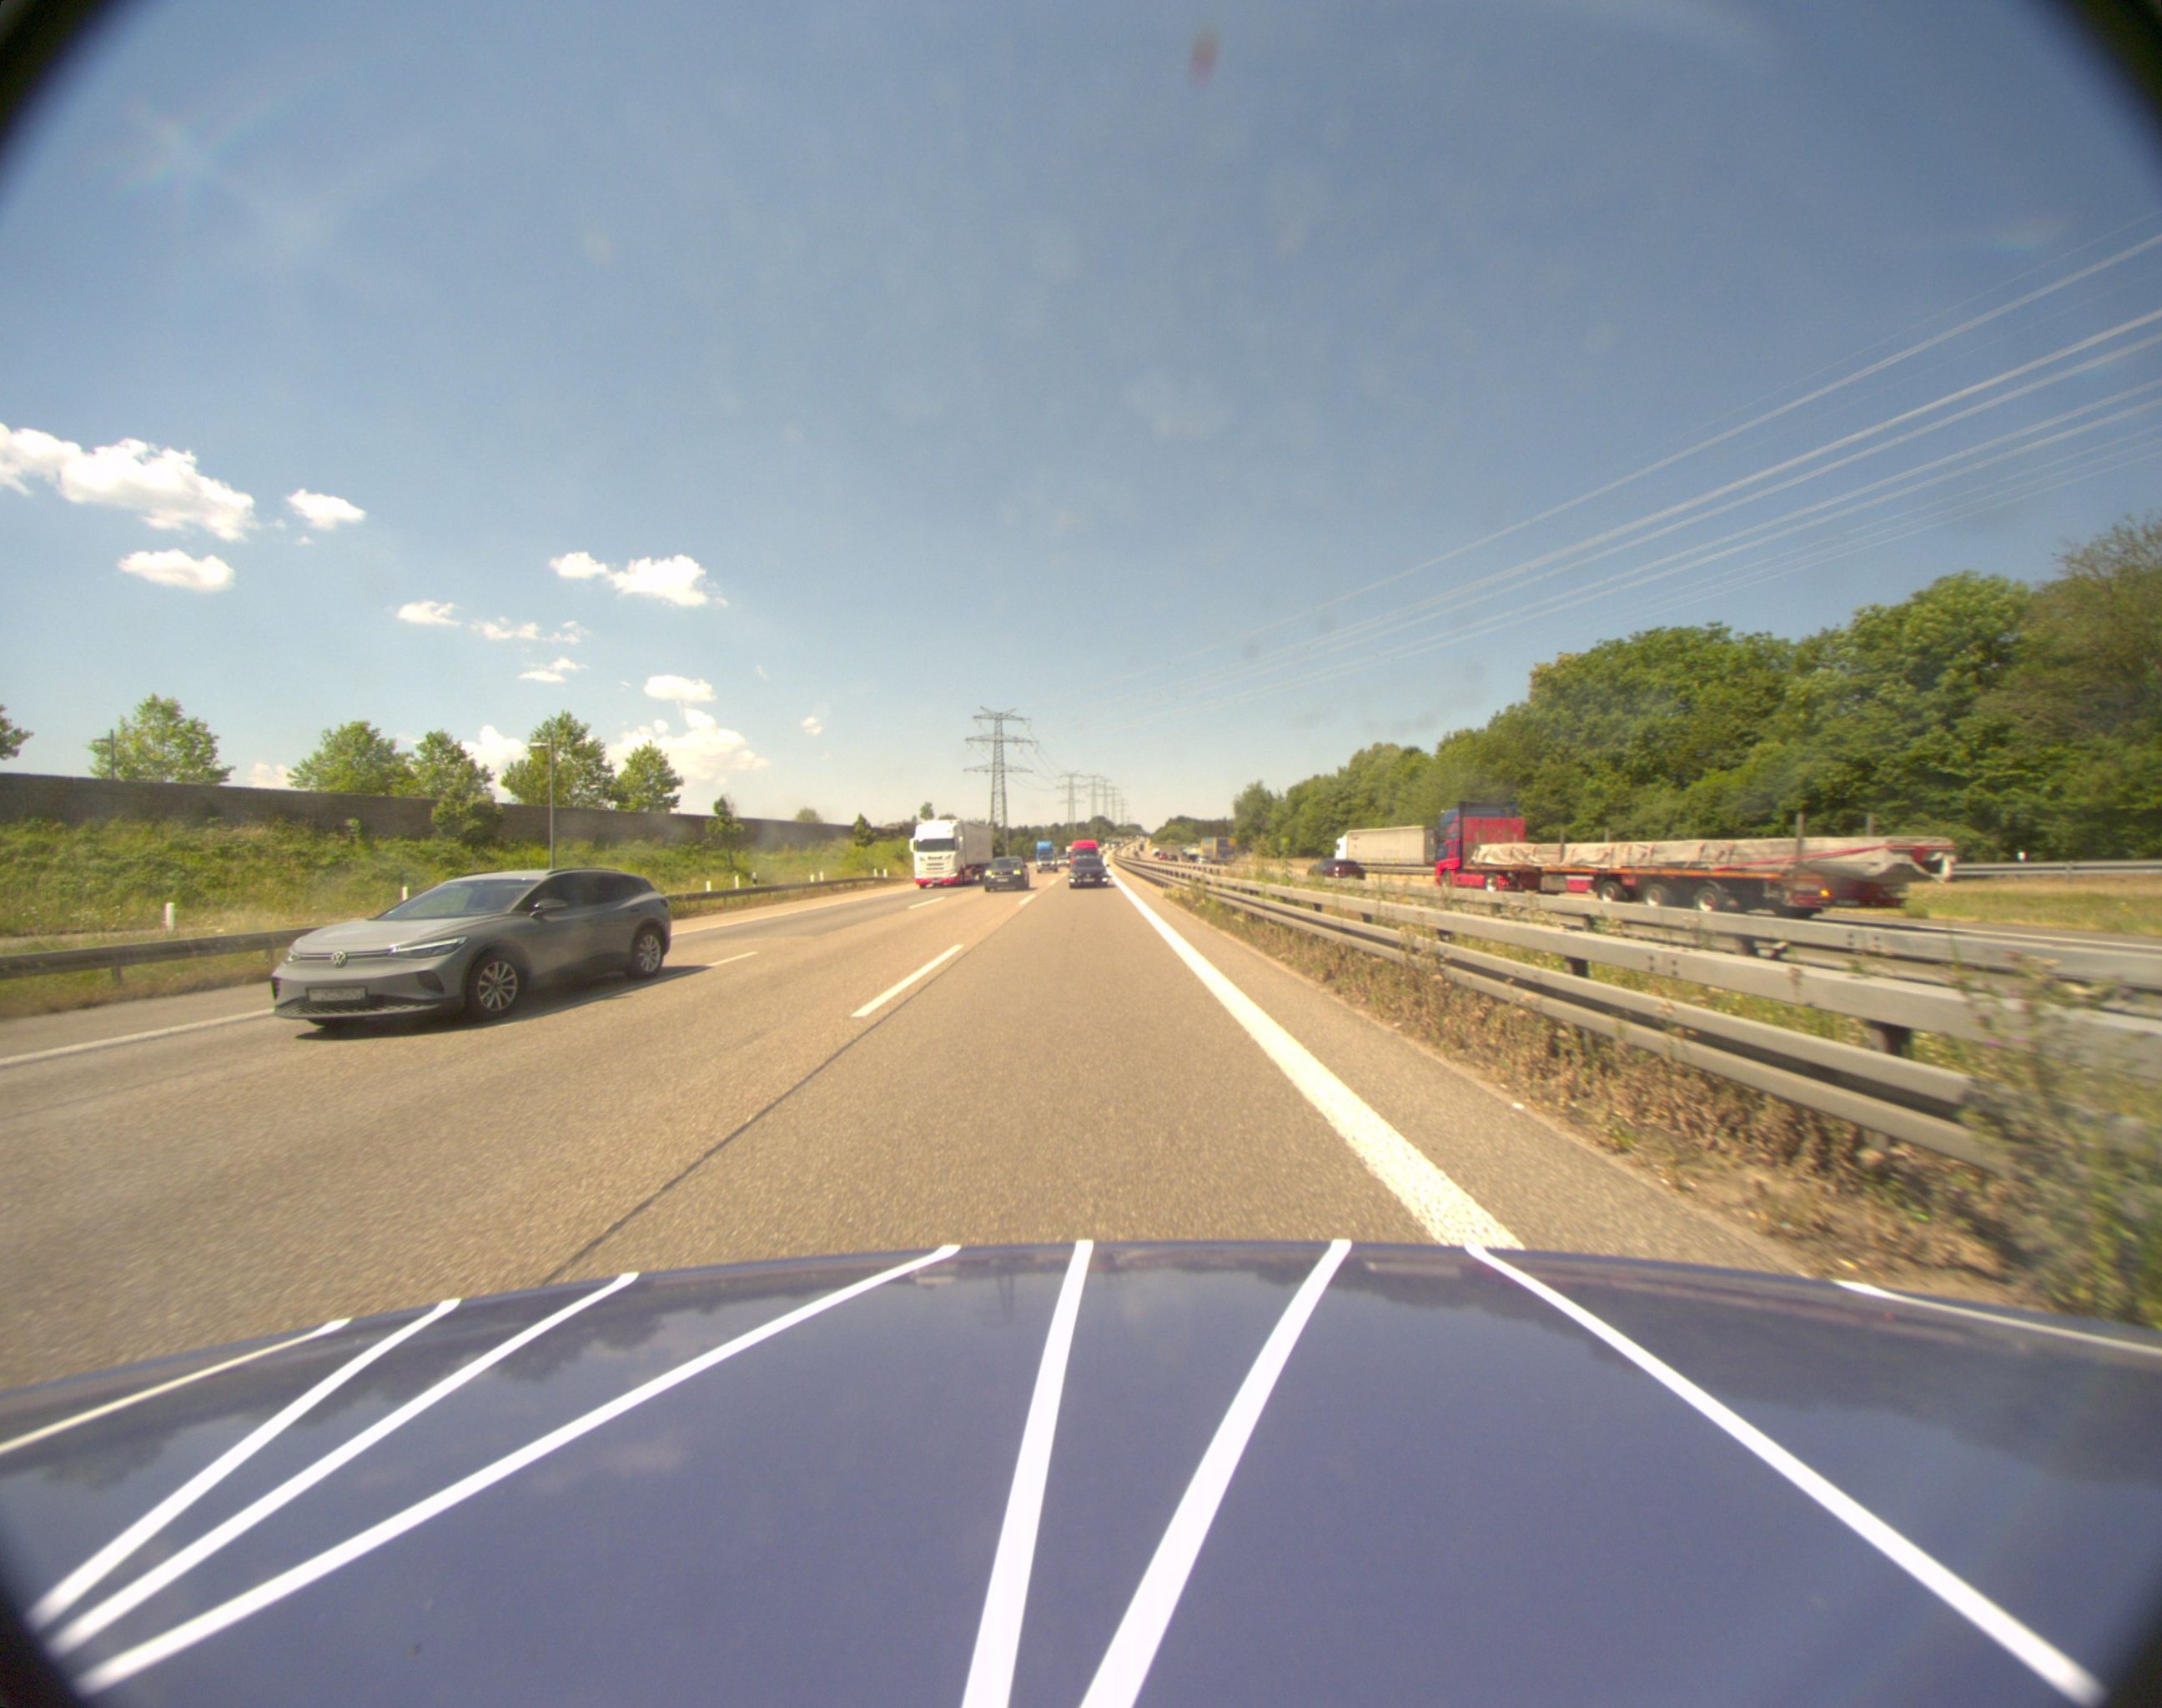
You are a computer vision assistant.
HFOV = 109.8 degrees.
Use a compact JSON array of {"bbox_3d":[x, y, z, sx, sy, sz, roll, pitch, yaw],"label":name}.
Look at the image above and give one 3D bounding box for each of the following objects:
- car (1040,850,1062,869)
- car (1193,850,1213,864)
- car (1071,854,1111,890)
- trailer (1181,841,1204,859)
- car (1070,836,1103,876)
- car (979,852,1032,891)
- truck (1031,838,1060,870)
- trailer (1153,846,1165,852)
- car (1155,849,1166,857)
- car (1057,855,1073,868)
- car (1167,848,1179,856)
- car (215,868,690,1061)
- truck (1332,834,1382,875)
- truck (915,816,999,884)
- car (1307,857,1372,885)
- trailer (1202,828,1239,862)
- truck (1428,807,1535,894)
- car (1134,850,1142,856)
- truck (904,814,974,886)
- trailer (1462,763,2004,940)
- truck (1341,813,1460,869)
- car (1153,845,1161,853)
[{"bbox_3d":[-2.852,0.491,72.460,1.749,1.691,4.088,0,1,2],"label":"car"},{"bbox_3d":[14.362,0.318,89.470,1.786,1.522,3.883,2,1,1],"label":"car"},{"bbox_3d":[0.481,0.785,34.714,1.735,1.535,3.750,0,1,2],"label":"car"},{"bbox_3d":[20.373,-0.747,139.573,2.921,3.281,9.710,-1,0,1],"label":"trailer"},{"bbox_3d":[0.431,0.104,52.348,2.100,2.598,4.496,0,1,2],"label":"car"},{"bbox_3d":[-3.537,0.790,36.278,1.955,1.636,4.047,-3,0,2],"label":"car"},{"bbox_3d":[-6.015,-0.078,132.060,3.797,4.971,14.924,-2,1,2],"label":"truck"},{"bbox_3d":[24.634,-1.551,239.928,2.771,1.934,6.722,1,1,-1],"label":"trailer"},{"bbox_3d":[16.113,-0.250,154.434,1.786,1.522,4.384,2,1,1],"label":"car"},{"bbox_3d":[-2.171,0.989,102.644,1.878,1.591,3.688,0,1,2],"label":"car"},{"bbox_3d":[15.750,-0.354,130.475,1.716,1.460,4.147,1,0,3],"label":"car"},{"bbox_3d":[-7.096,1.085,9.436,1.872,1.627,4.586,-2,0,3],"label":"car"},{"bbox_3d":[27.650,0.099,76.213,2.953,3.872,4.322,-1,-2,-7],"label":"truck"},{"bbox_3d":[-7.967,-0.271,50.991,3.076,3.885,12.504,-2,0,2],"label":"truck"},{"bbox_3d":[13.435,0.858,39.843,1.774,1.326,4.921,0,0,1],"label":"car"},{"bbox_3d":[19.189,-1.194,105.346,3.182,4.316,13.814,-1,0,3],"label":"trailer"},{"bbox_3d":[17.243,-0.152,32.909,3.003,3.538,3.118,-1,1,0],"label":"truck"},{"bbox_3d":[15.238,-0.282,202.663,1.786,1.615,4.000,0,1,1],"label":"car"},{"bbox_3d":[-8.163,-0.231,44.062,3.076,3.885,3.847,-2,1,2],"label":"truck"},{"bbox_3d":[17.152,-0.095,23.317,3.003,3.538,16.022,-1,0,1],"label":"trailer"},{"bbox_3d":[28.547,-0.949,69.161,3.005,4.314,14.541,-1,-2,-7],"label":"truck"},{"bbox_3d":[24.570,-1.647,245.257,2.114,2.624,6.004,1,1,1],"label":"car"}]
